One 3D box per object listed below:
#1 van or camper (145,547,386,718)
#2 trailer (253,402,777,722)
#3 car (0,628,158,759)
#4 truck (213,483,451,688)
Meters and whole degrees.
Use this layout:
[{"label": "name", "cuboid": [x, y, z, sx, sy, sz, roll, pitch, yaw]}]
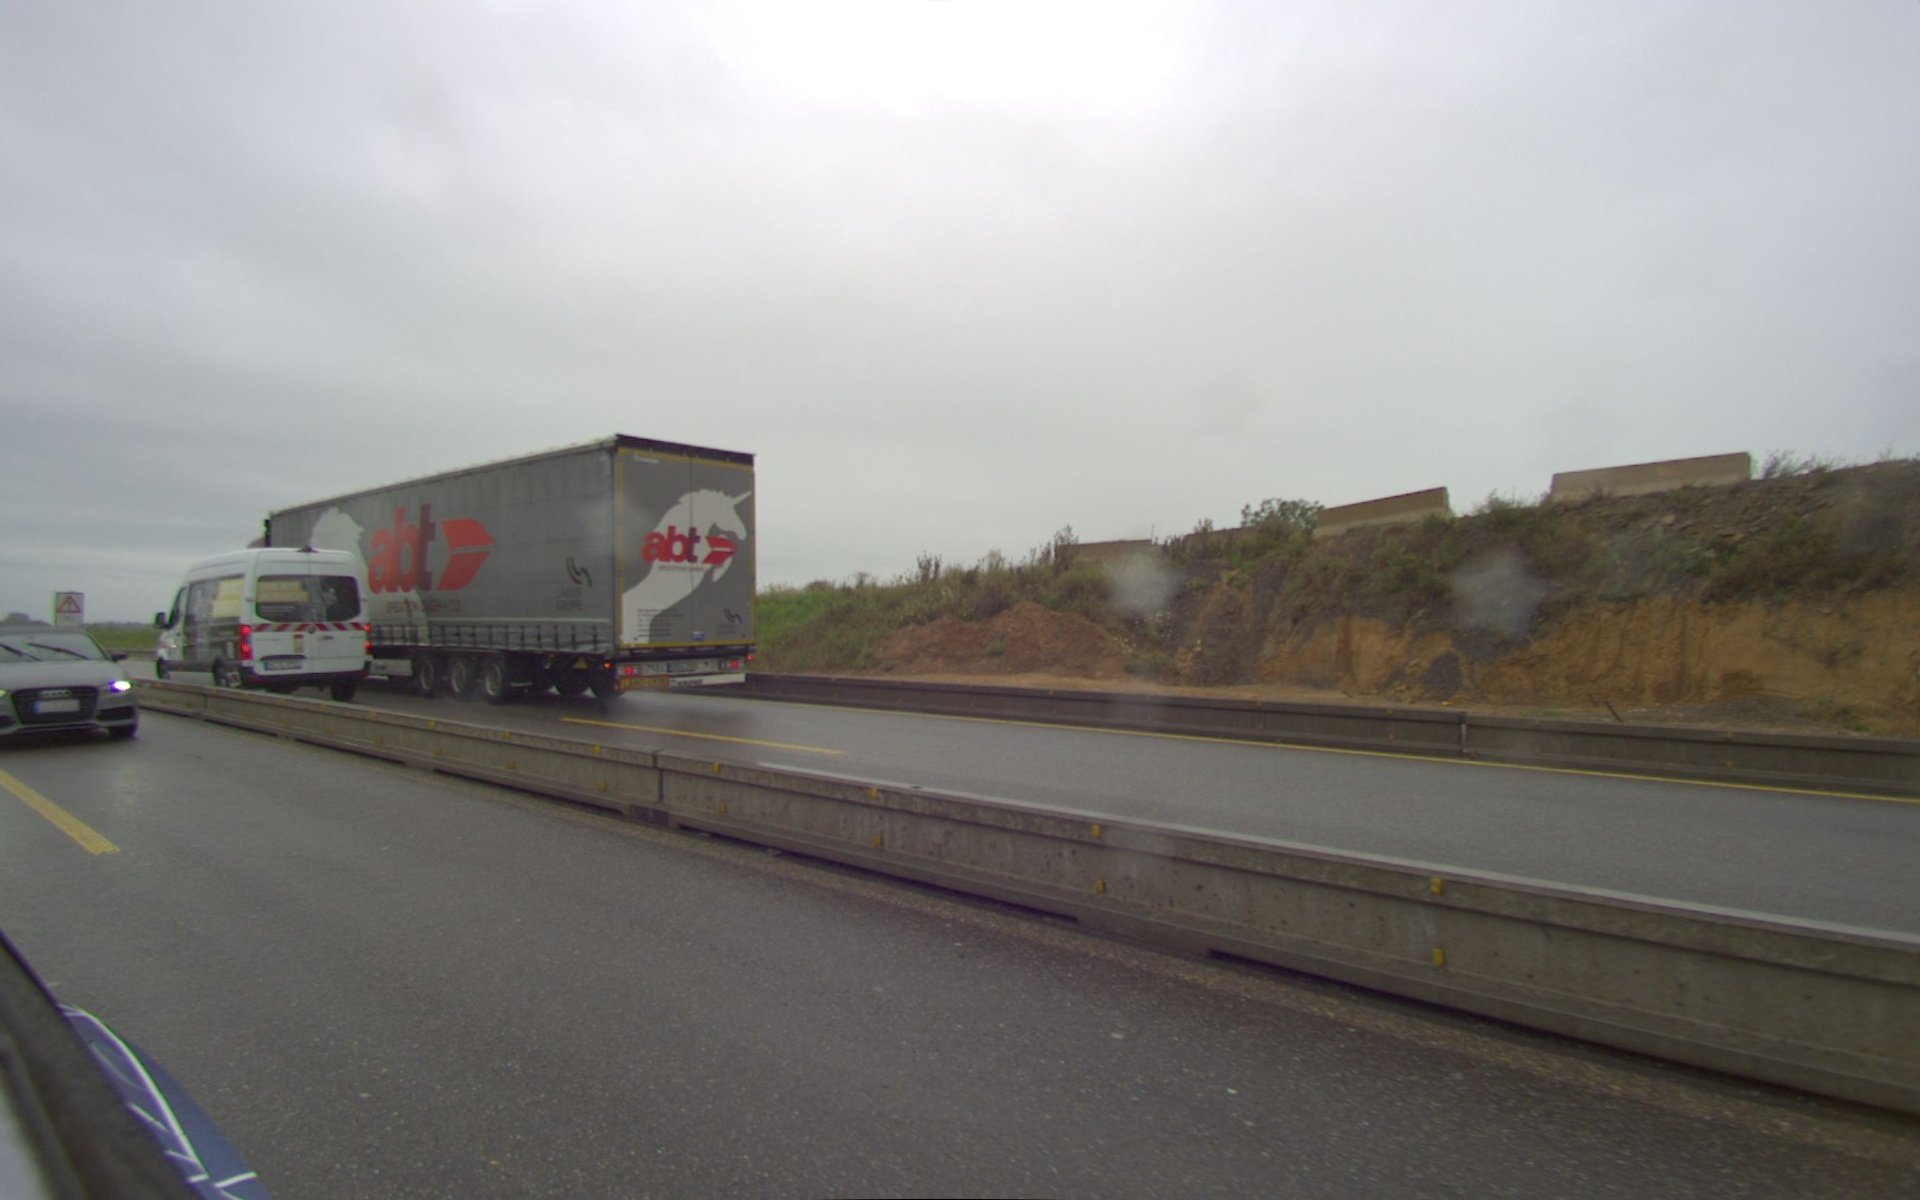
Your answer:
[{"label": "van or camper", "cuboid": [-12.772, 0.545, 18.425, 5.825, 2.634, 2.255, -1, -1, 41]}, {"label": "trailer", "cuboid": [-9.914, -0.293, 20.301, 15.690, 4.455, 2.964, -2, -3, 40]}, {"label": "car", "cuboid": [-11.854, 1.078, 12.813, 4.083, 1.393, 1.783, -1, -1, 39]}, {"label": "truck", "cuboid": [-15.768, -0.189, 25.230, 6.926, 4.443, 2.949, -2, -3, 40]}]
